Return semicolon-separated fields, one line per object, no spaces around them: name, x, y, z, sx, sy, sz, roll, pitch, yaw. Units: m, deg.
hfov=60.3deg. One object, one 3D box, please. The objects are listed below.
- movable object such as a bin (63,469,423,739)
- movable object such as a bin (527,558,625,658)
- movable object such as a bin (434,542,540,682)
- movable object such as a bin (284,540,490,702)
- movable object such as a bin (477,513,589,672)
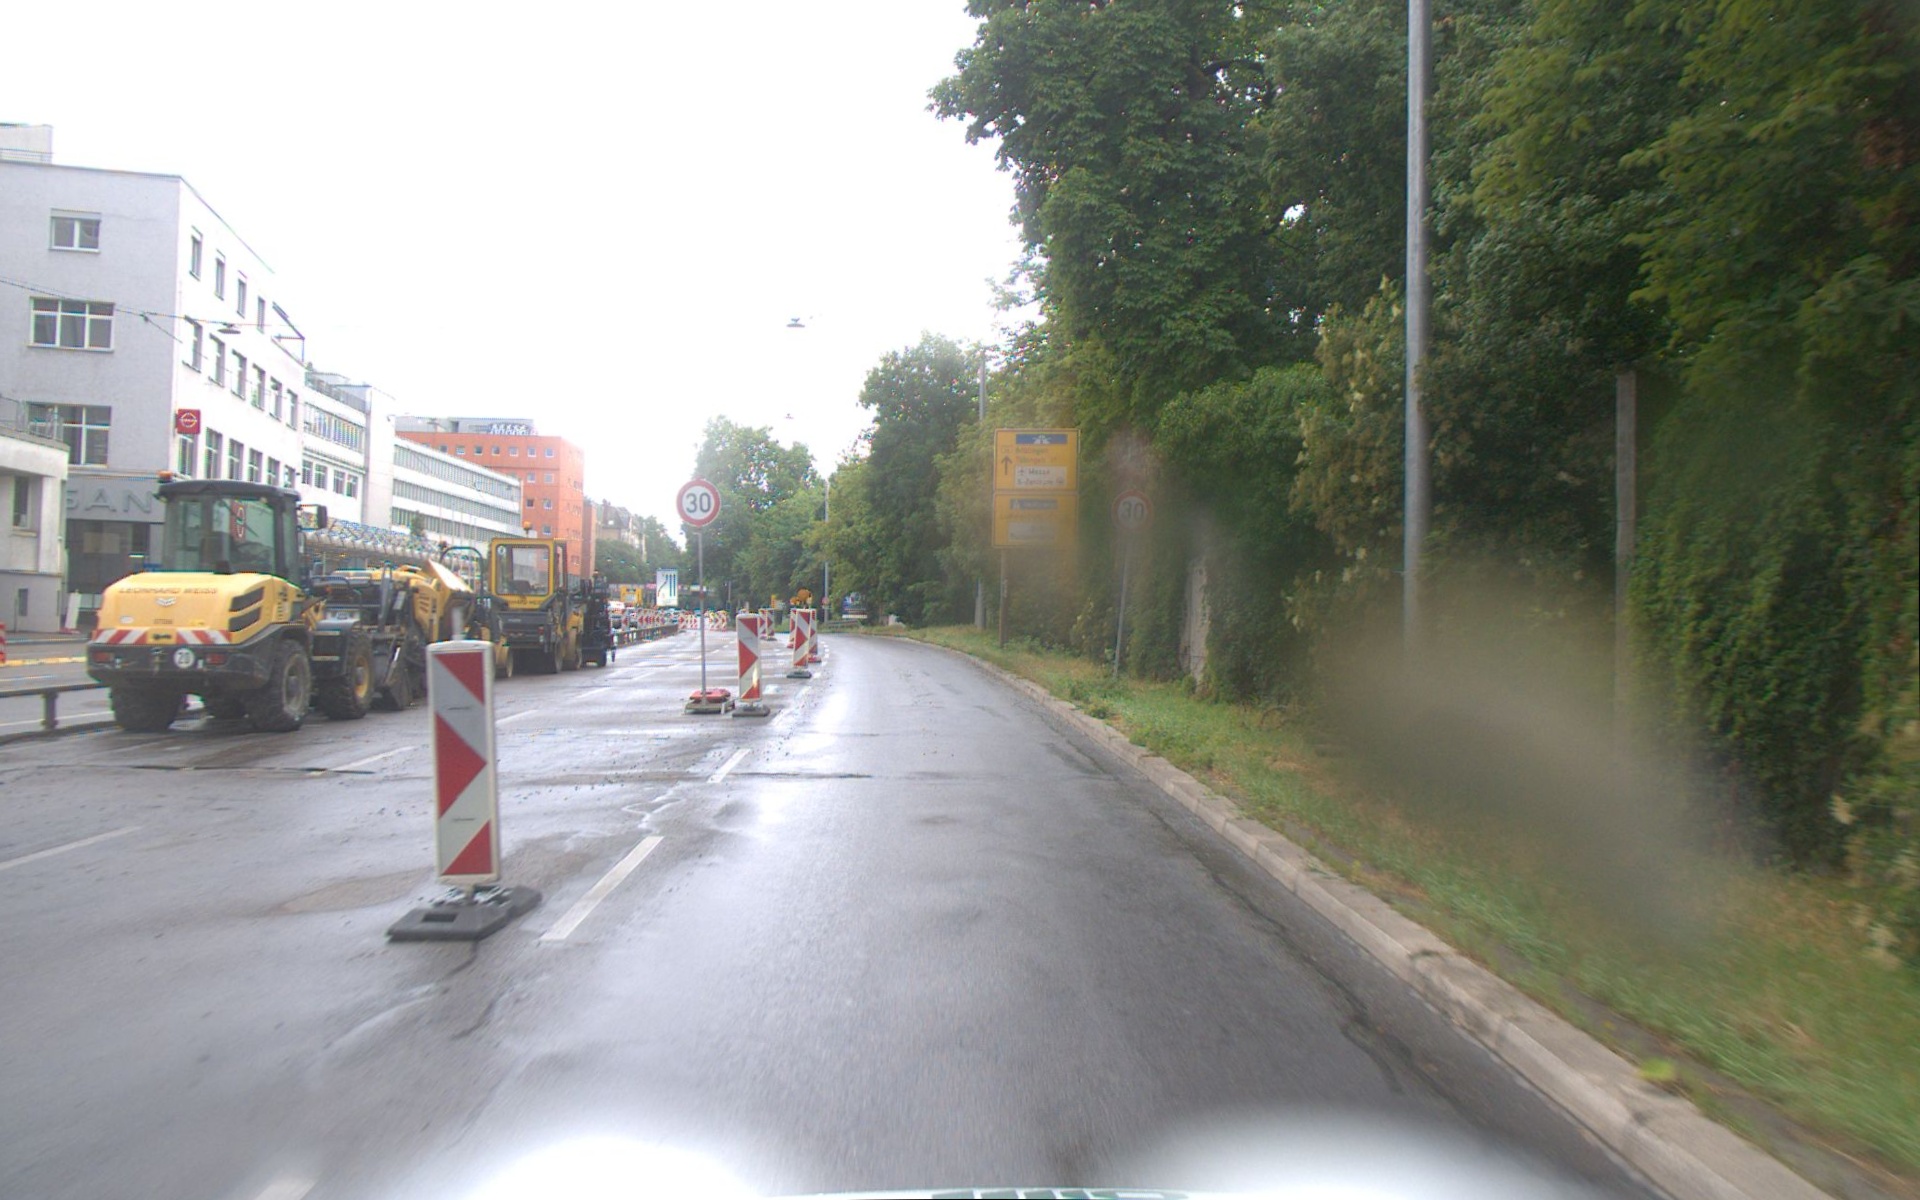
movable object such as a bin;-8.028;0.035;19.192;1.863;2.655;5.381;1;0;-1
movable object such as a bin;-8.745;0.165;37.859;1.682;2.187;3.346;0;0;-4
movable object such as a bin;-8.616;0.205;30.276;1.383;2.443;2.404;0;0;-4
movable object such as a bin;-8.330;0.266;24.499;1.335;2.126;5.029;1;0;-1
movable object such as a bin;-8.648;-0.156;33.722;1.436;3.061;3.722;0;0;-2
